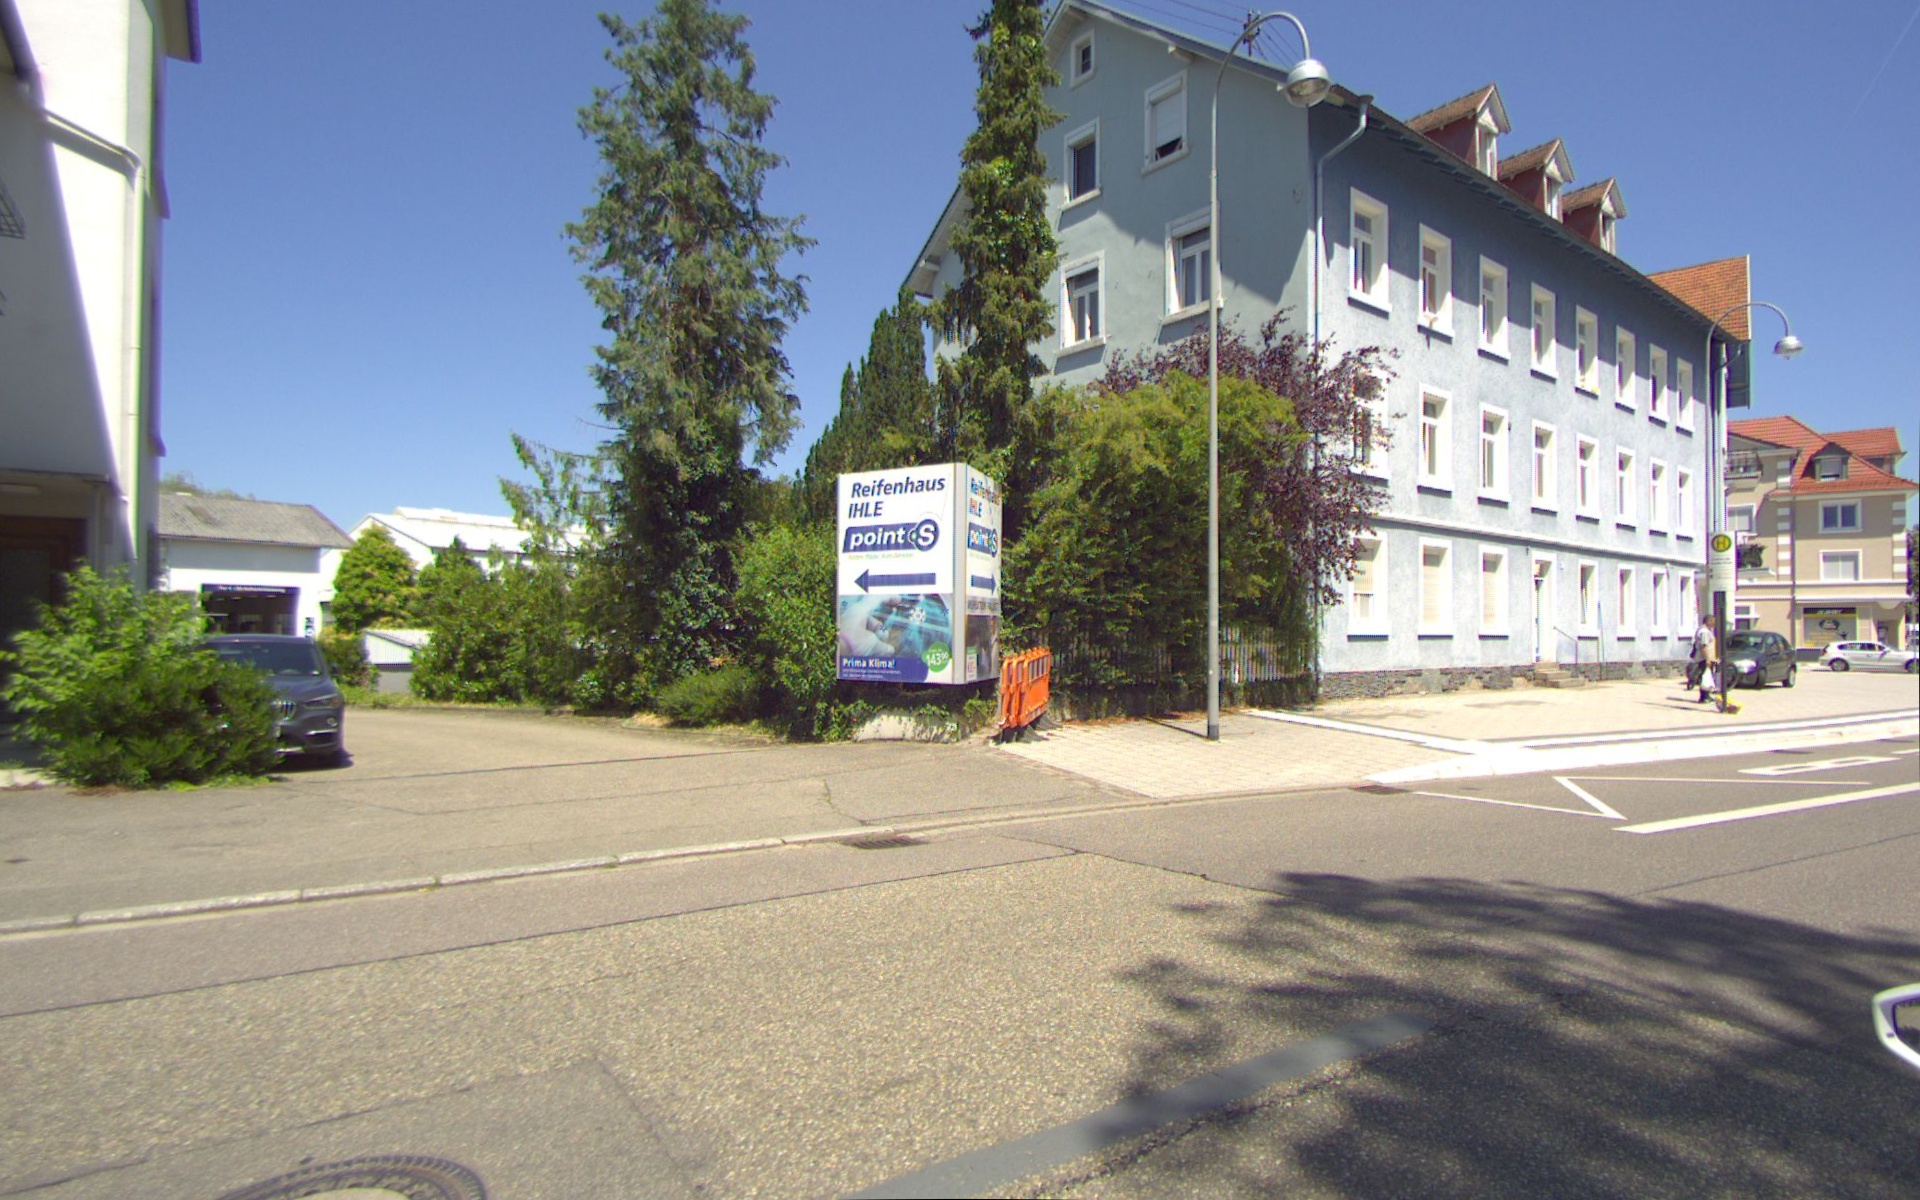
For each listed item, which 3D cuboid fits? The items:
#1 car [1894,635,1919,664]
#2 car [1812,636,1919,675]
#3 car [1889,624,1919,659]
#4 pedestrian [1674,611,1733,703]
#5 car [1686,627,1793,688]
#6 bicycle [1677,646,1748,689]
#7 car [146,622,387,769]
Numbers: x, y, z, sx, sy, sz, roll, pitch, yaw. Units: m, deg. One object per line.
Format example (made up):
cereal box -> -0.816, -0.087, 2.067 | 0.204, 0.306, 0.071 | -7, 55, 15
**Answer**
car -> 58.053, 2.988, 60.771 | 1.753, 1.708, 4.677 | 0, -2, 36
car -> 42.343, 2.549, 46.595 | 1.774, 1.571, 4.078 | 2, -1, -41
car -> 73.354, 3.215, 77.045 | 2.115, 2.566, 6.219 | 2, -1, 34
pedestrian -> 15.809, 1.193, 21.361 | 0.765, 1.873, 0.750 | 2, 1, -38
car -> 21.339, 1.593, 27.461 | 3.745, 1.554, 1.564 | 4, -3, -40
bicycle -> 18.471, 1.661, 24.636 | 1.947, 0.990, 0.494 | 3, 2, -26
car -> -8.806, 1.077, 12.638 | 3.876, 1.560, 1.557 | -1, -2, 41
